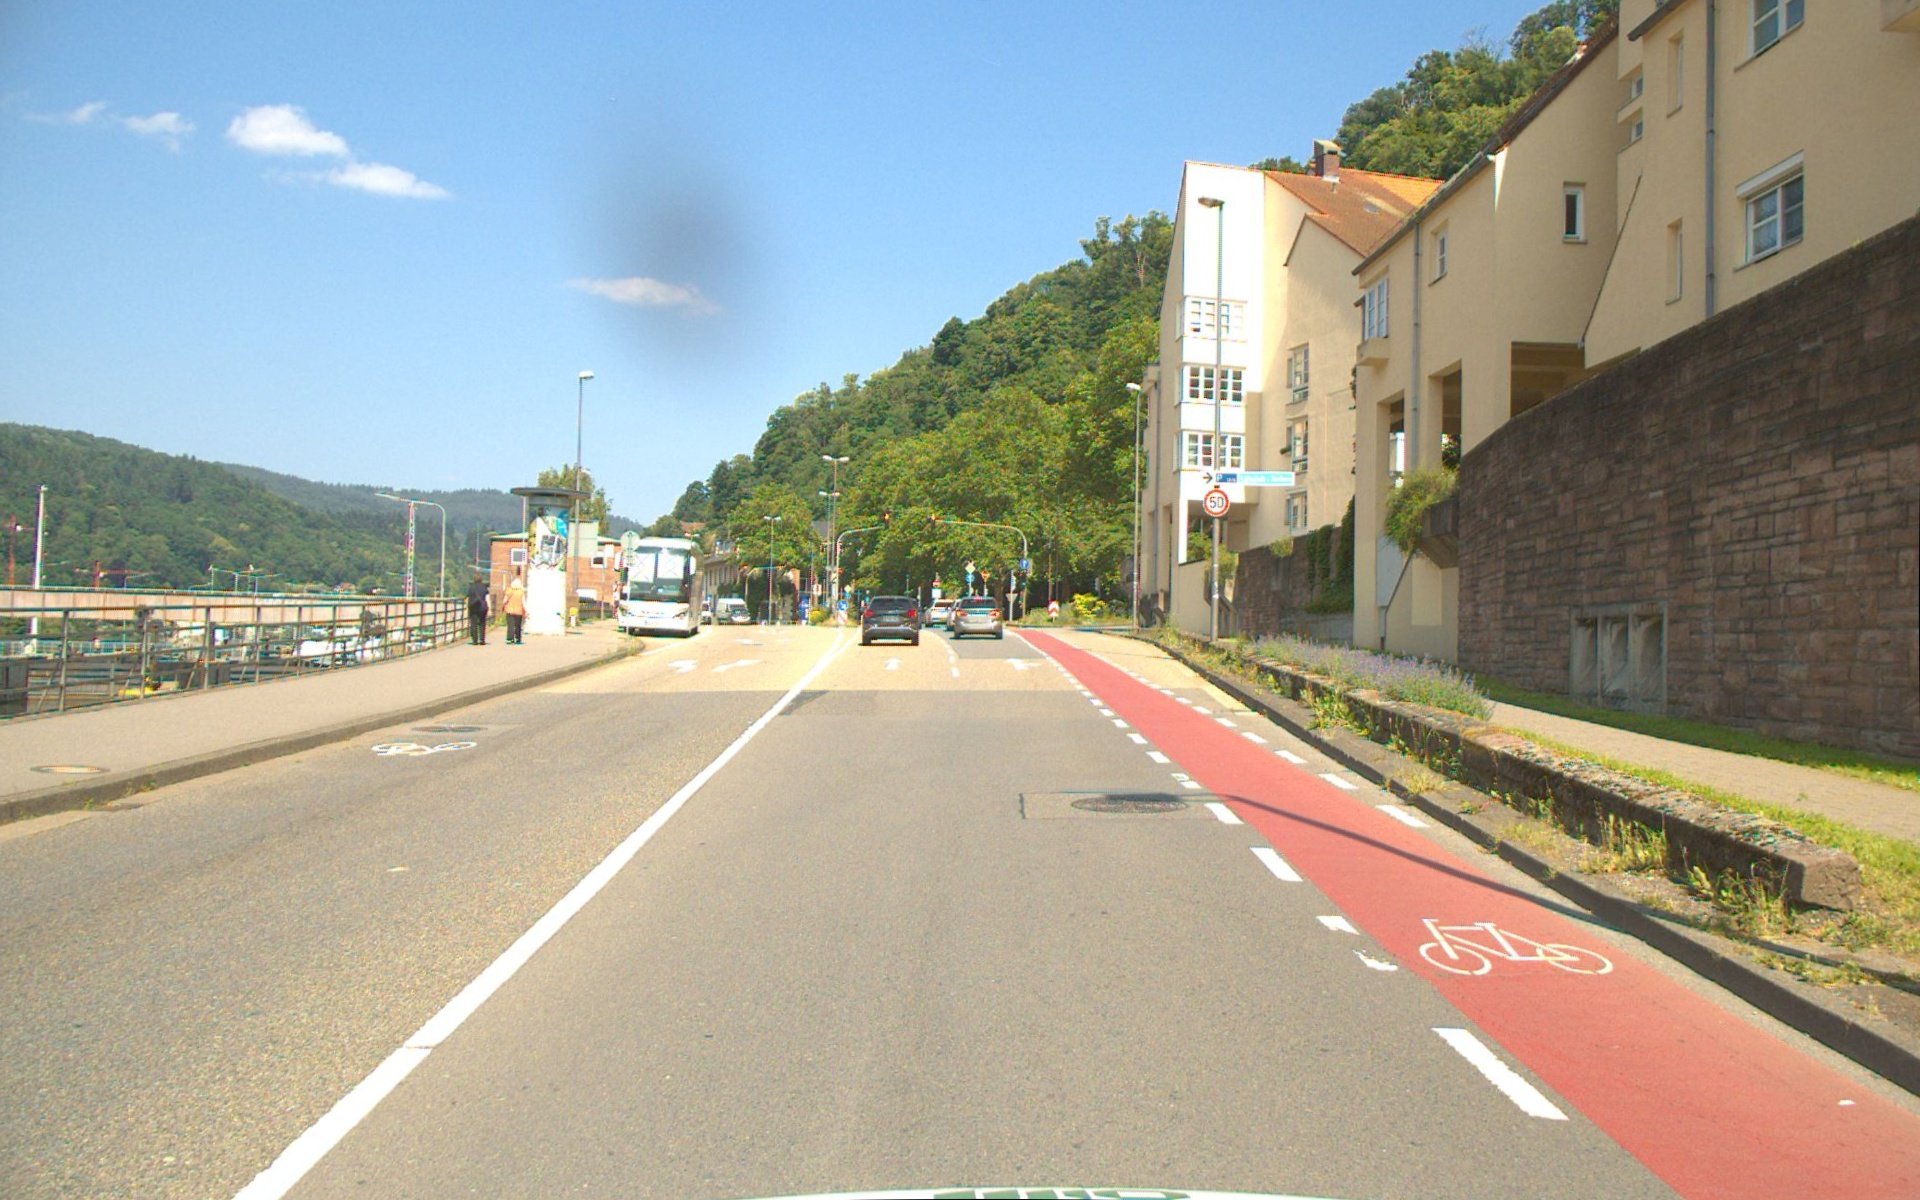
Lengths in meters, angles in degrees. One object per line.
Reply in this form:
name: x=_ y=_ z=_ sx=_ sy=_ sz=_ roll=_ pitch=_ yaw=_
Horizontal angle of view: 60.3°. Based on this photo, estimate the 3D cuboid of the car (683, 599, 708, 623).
car: x=-23.765 y=0.991 z=148.578 sx=2.173 sy=2.115 sz=5.034 roll=0 pitch=0 yaw=-8

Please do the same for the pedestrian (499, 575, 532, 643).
pedestrian: x=-10.959 y=0.235 z=40.826 sx=0.690 sy=1.649 sz=0.815 roll=1 pitch=-1 yaw=-11

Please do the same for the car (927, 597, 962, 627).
car: x=-0.879 y=0.664 z=91.032 sx=1.750 sy=1.559 sz=4.734 roll=0 pitch=-1 yaw=-3

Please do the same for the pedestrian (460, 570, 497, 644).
pedestrian: x=-11.448 y=0.163 z=39.335 sx=0.669 sy=1.739 sz=0.773 roll=1 pitch=-1 yaw=-3

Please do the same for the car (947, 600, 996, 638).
car: x=0.472 y=0.835 z=73.420 sx=1.953 sy=1.560 sz=4.856 roll=2 pitch=-1 yaw=-2

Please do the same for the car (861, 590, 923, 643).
car: x=-2.090 y=0.514 z=51.739 sx=1.831 sy=1.540 sz=4.149 roll=2 pitch=-1 yaw=-2

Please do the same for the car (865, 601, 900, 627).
car: x=-4.265 y=0.747 z=90.966 sx=1.830 sy=1.382 sz=3.997 roll=0 pitch=0 yaw=-4

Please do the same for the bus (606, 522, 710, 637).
bus: x=-11.737 y=-0.723 z=65.444 sx=2.901 sy=3.866 sz=13.224 roll=5 pitch=0 yaw=-7

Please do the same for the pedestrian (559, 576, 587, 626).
pedestrian: x=-14.315 y=0.043 z=61.213 sx=0.875 sy=1.827 sz=1.039 roll=1 pitch=-1 yaw=-8

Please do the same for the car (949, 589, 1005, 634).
car: x=0.592 y=0.427 z=61.060 sx=1.850 sy=1.548 sz=4.304 roll=2 pitch=-1 yaw=-2

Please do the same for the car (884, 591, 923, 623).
car: x=-2.858 y=0.341 z=83.386 sx=1.830 sy=1.589 sz=3.997 roll=0 pitch=0 yaw=-4

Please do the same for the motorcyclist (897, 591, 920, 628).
motorcyclist: x=-2.415 y=0.455 z=76.918 sx=1.054 sy=1.714 sz=1.155 roll=0 pitch=0 yaw=-3

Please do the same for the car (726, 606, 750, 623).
car: x=-19.472 y=1.265 z=145.155 sx=1.954 sy=1.457 sz=4.163 roll=0 pitch=0 yaw=-5
